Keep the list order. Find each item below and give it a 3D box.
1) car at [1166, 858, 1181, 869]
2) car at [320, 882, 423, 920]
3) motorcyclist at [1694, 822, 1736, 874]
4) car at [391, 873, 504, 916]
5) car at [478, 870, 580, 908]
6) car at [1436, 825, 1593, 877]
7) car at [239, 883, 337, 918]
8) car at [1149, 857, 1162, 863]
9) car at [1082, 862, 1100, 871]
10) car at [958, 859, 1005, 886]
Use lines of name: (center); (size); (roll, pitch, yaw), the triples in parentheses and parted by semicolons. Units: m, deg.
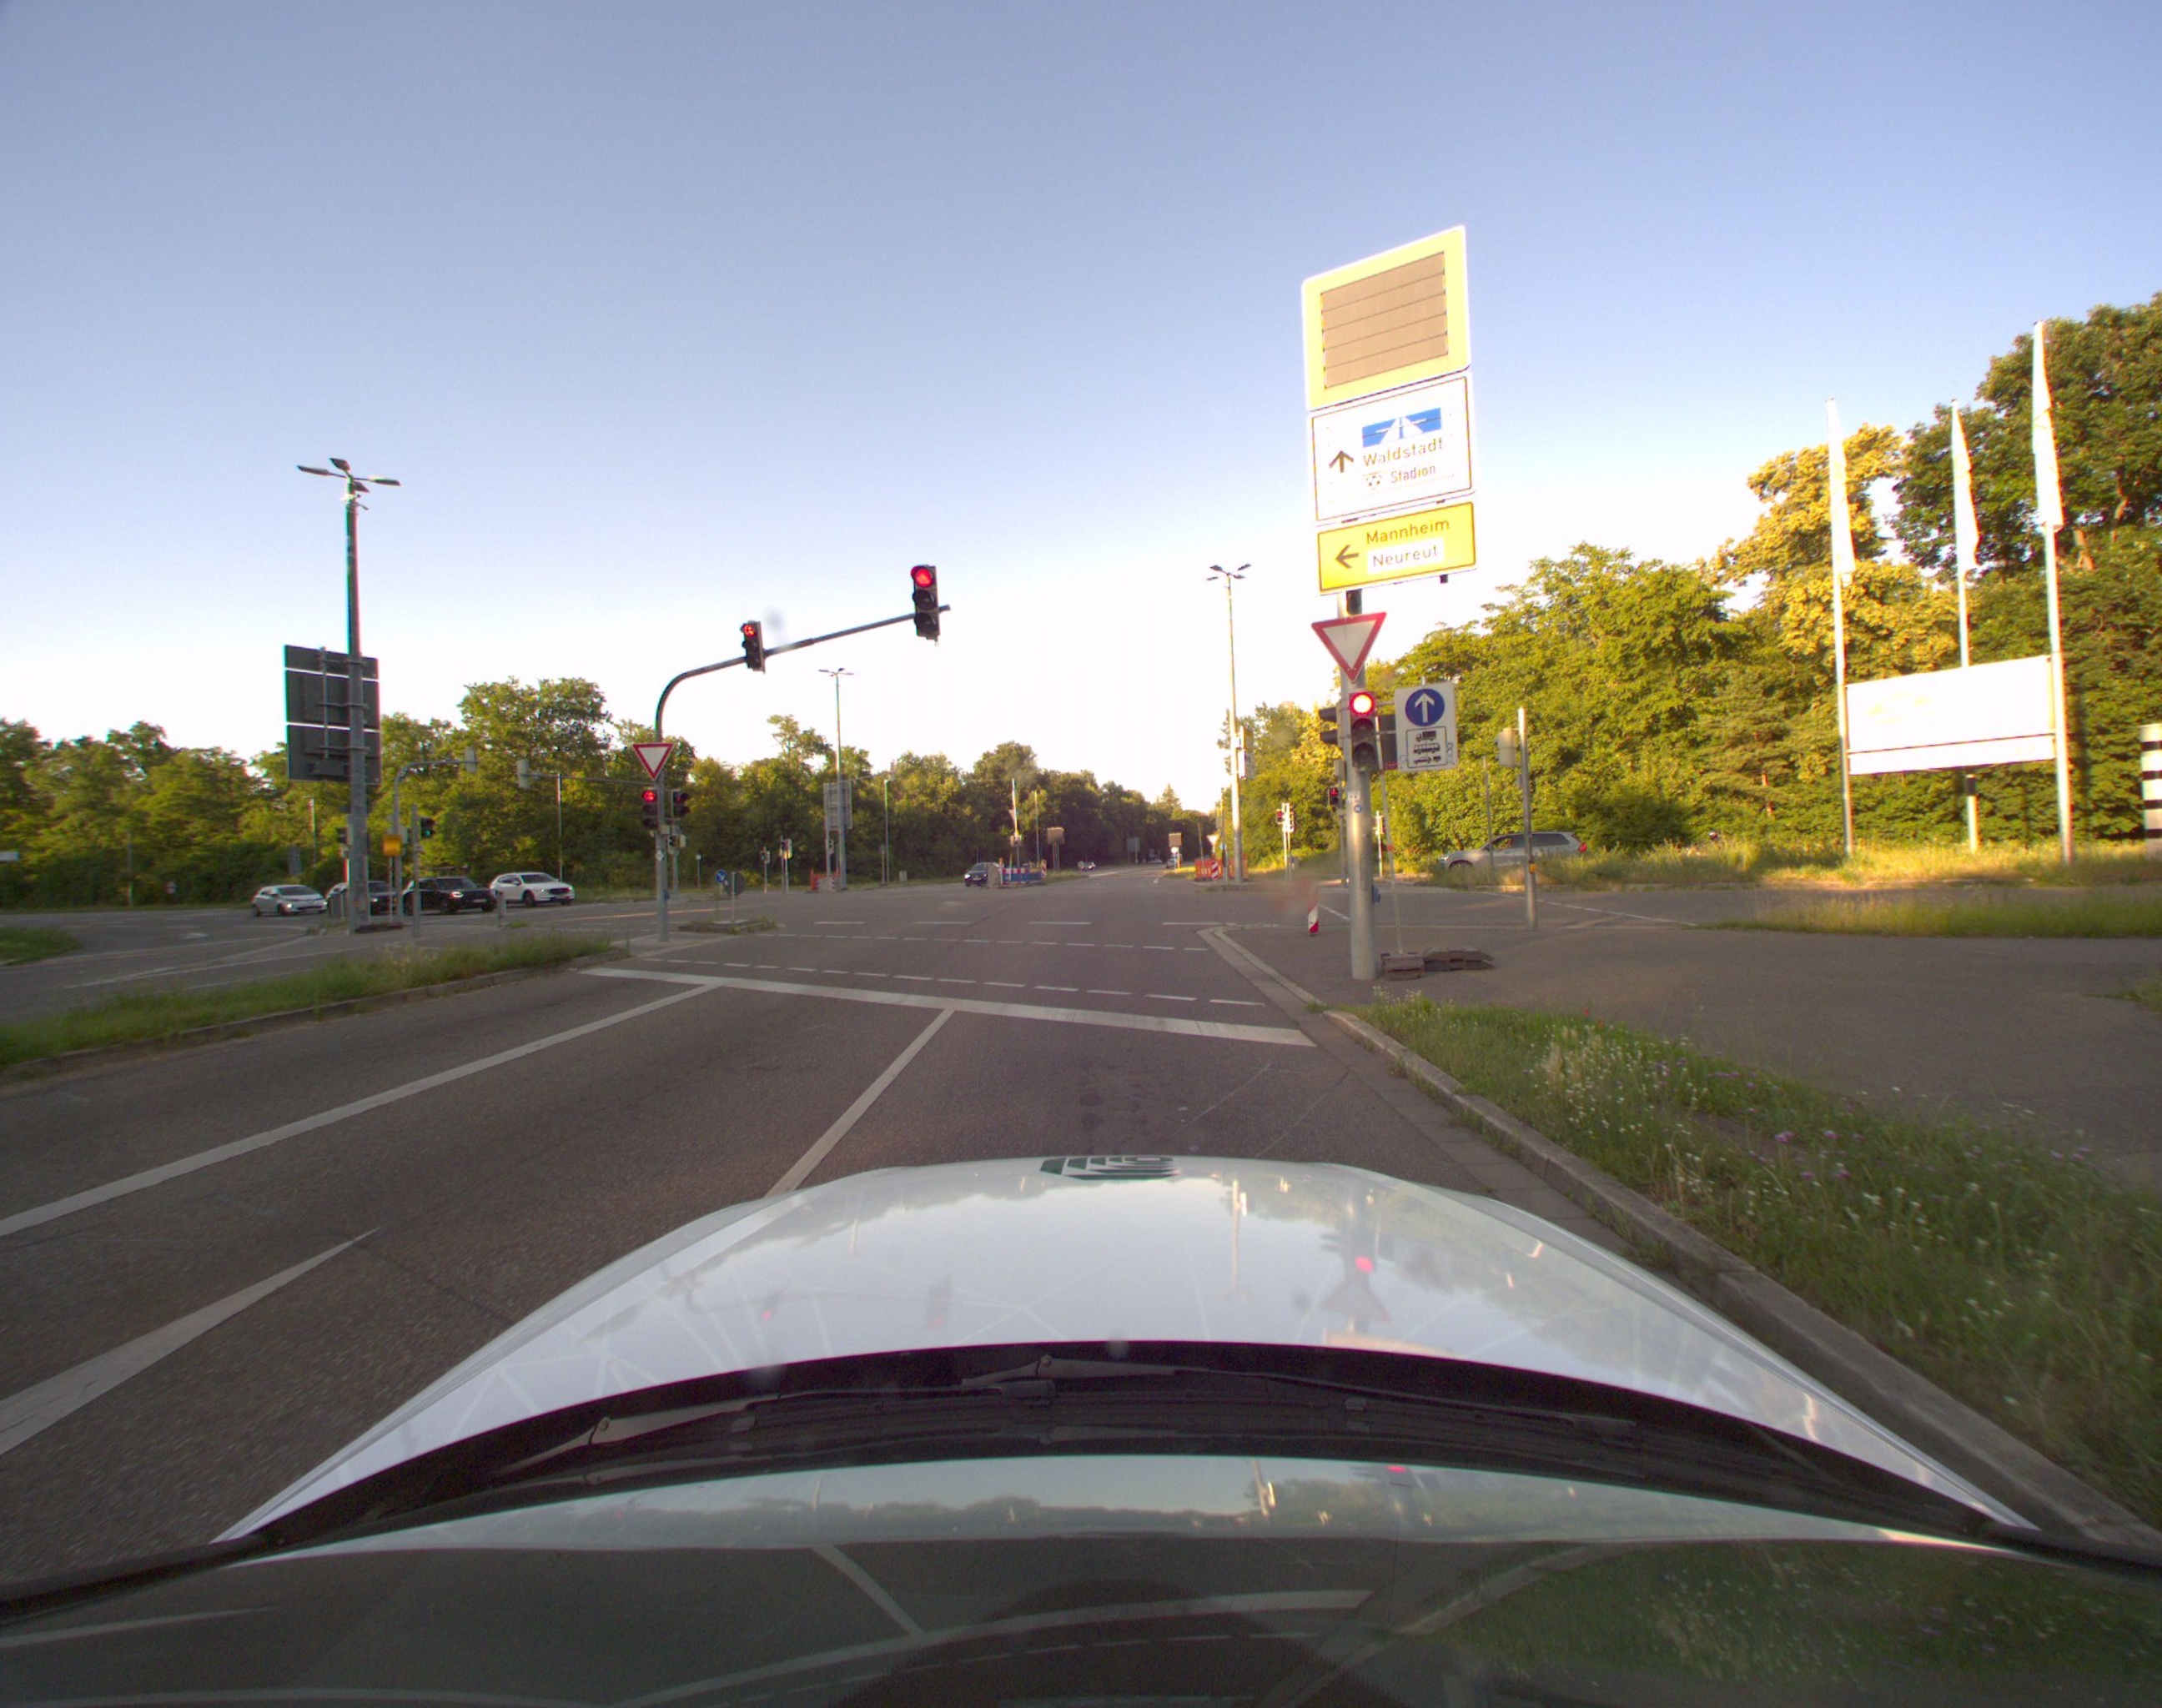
car: (15.376, 1.599, 135.381); (1.980, 1.618, 4.014); (-2, 0, 12)
car: (-33.537, 2.210, 38.502); (4.205, 1.640, 2.011); (-2, 0, 24)
motorcyclist: (20.116, -0.192, 25.861); (0.878, 1.595, 0.658); (-2, 0, 24)
car: (-27.194, 1.737, 34.979); (4.205, 1.640, 2.011); (-2, 0, 24)
car: (-26.372, 1.667, 38.914); (4.205, 1.640, 2.011); (-2, 0, 24)
car: (15.329, -0.095, 29.139); (4.772, 1.598, 2.011); (-2, 0, 23)
car: (-40.907, 2.402, 42.023); (4.207, 1.640, 2.011); (-2, 0, 21)
car: (22.262, 1.864, 242.656); (3.967, 1.724, 1.848); (0, -1, 5)
car: (1.659, 2.031, 133.293); (1.980, 1.420, 4.013); (-2, 0, 12)
car: (-6.190, 1.146, 51.151); (1.984, 1.530, 4.684); (-2, 0, 5)
